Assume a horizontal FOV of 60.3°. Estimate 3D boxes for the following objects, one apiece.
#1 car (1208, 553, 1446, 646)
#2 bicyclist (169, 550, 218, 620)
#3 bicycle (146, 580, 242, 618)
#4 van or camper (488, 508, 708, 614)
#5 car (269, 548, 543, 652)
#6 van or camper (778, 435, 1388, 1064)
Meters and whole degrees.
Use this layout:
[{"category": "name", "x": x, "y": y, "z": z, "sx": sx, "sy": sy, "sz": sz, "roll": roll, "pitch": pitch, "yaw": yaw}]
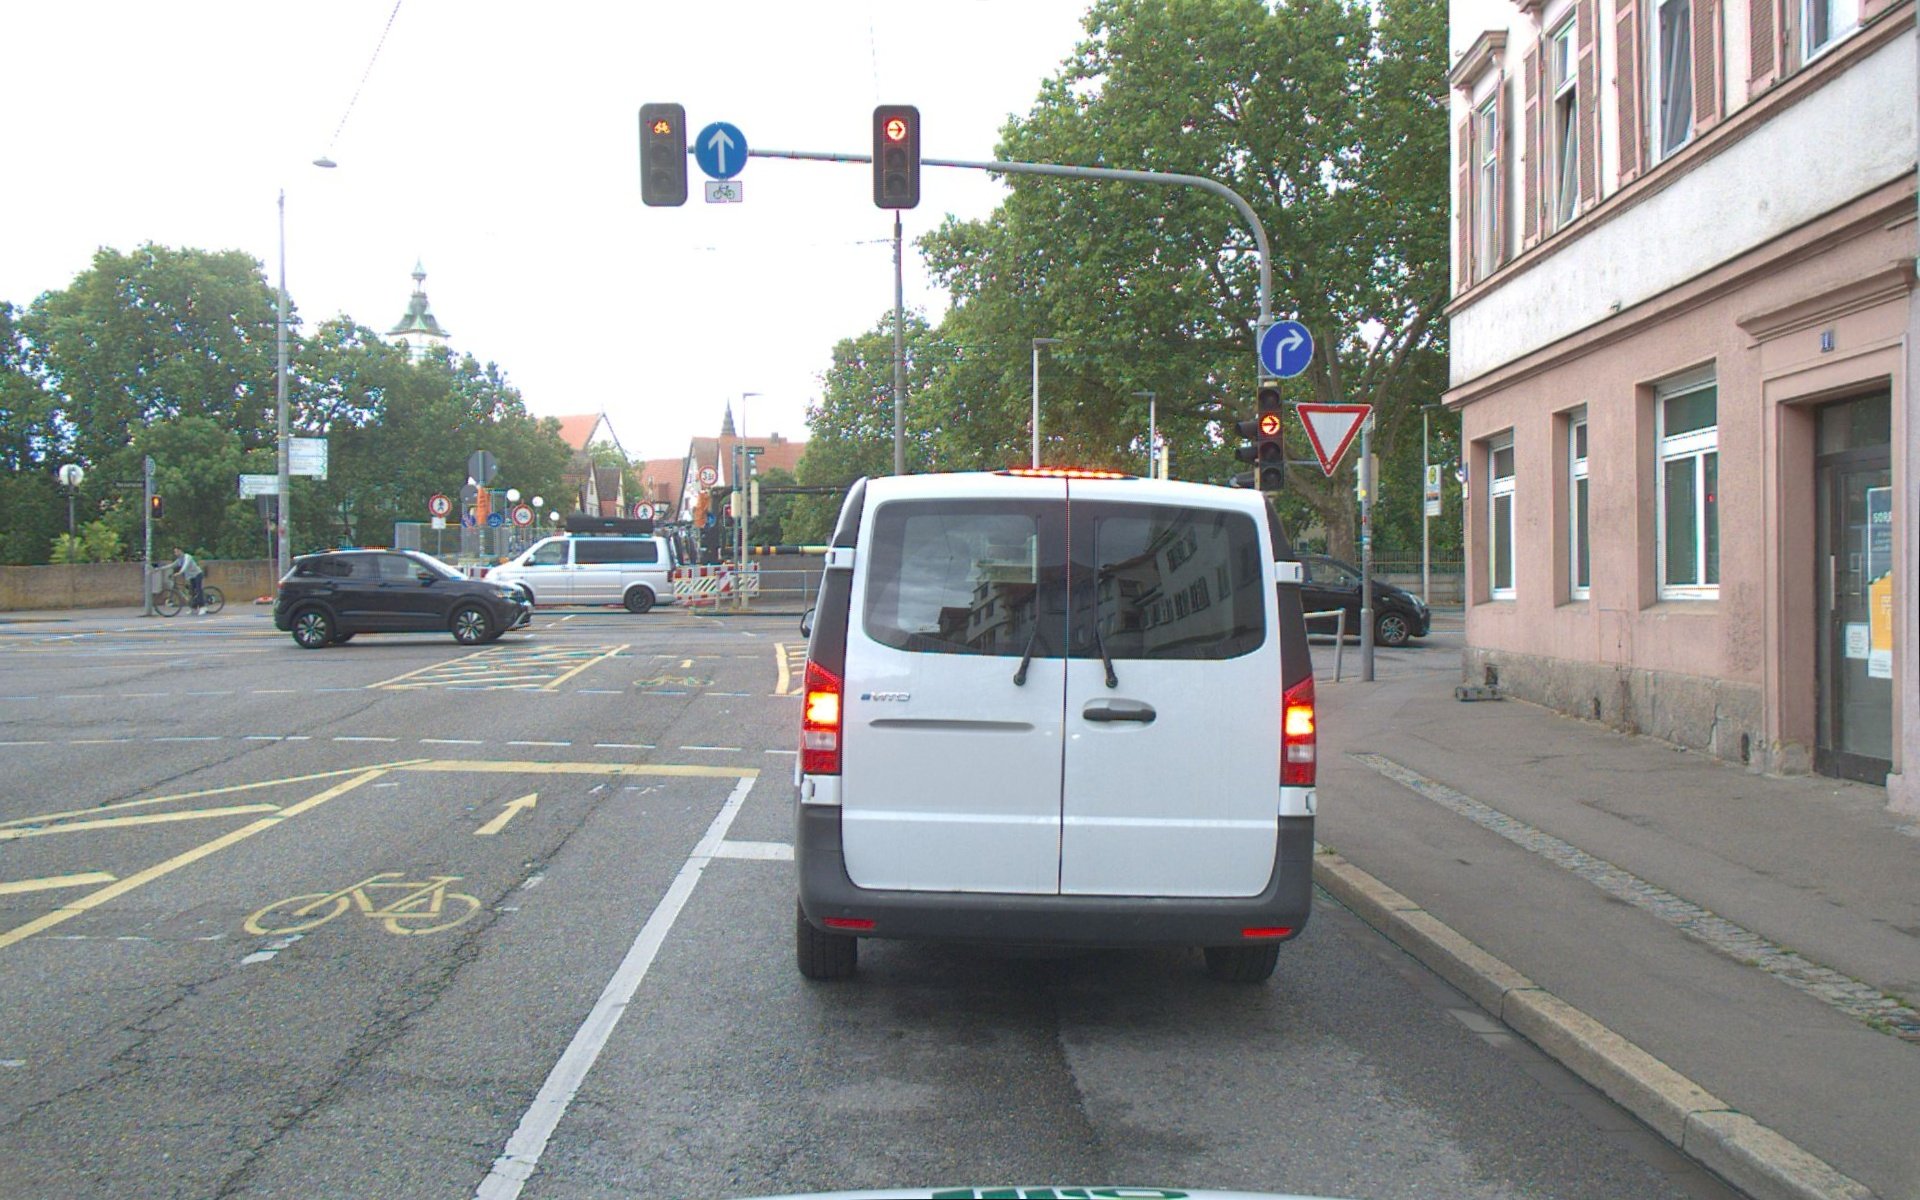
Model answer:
[{"category": "car", "x": 6.120, "y": -0.037, "z": 27.902, "sx": 3.666, "sy": 1.453, "sz": 1.829, "roll": -1, "pitch": 2, "yaw": 3}, {"category": "bicyclist", "x": -19.731, "y": -0.405, "z": 42.575, "sx": 0.996, "sy": 1.774, "sz": 0.743, "roll": -1, "pitch": 1, "yaw": -42}, {"category": "bicycle", "x": -19.719, "y": -0.030, "z": 42.591, "sx": 2.120, "sy": 0.907, "sz": 0.749, "roll": -1, "pitch": 2, "yaw": -42}, {"category": "van or camper", "x": -9.118, "y": -0.945, "z": 41.727, "sx": 5.300, "sy": 2.558, "sz": 2.029, "roll": 0, "pitch": -1, "yaw": -14}, {"category": "car", "x": -9.175, "y": -0.029, "z": 27.682, "sx": 3.991, "sy": 1.600, "sz": 1.826, "roll": -1, "pitch": 2, "yaw": -6}, {"category": "van or camper", "x": 0.252, "y": 0.404, "z": 7.423, "sx": 1.899, "sy": 1.958, "sz": 4.438, "roll": 1, "pitch": 2, "yaw": -4}]
